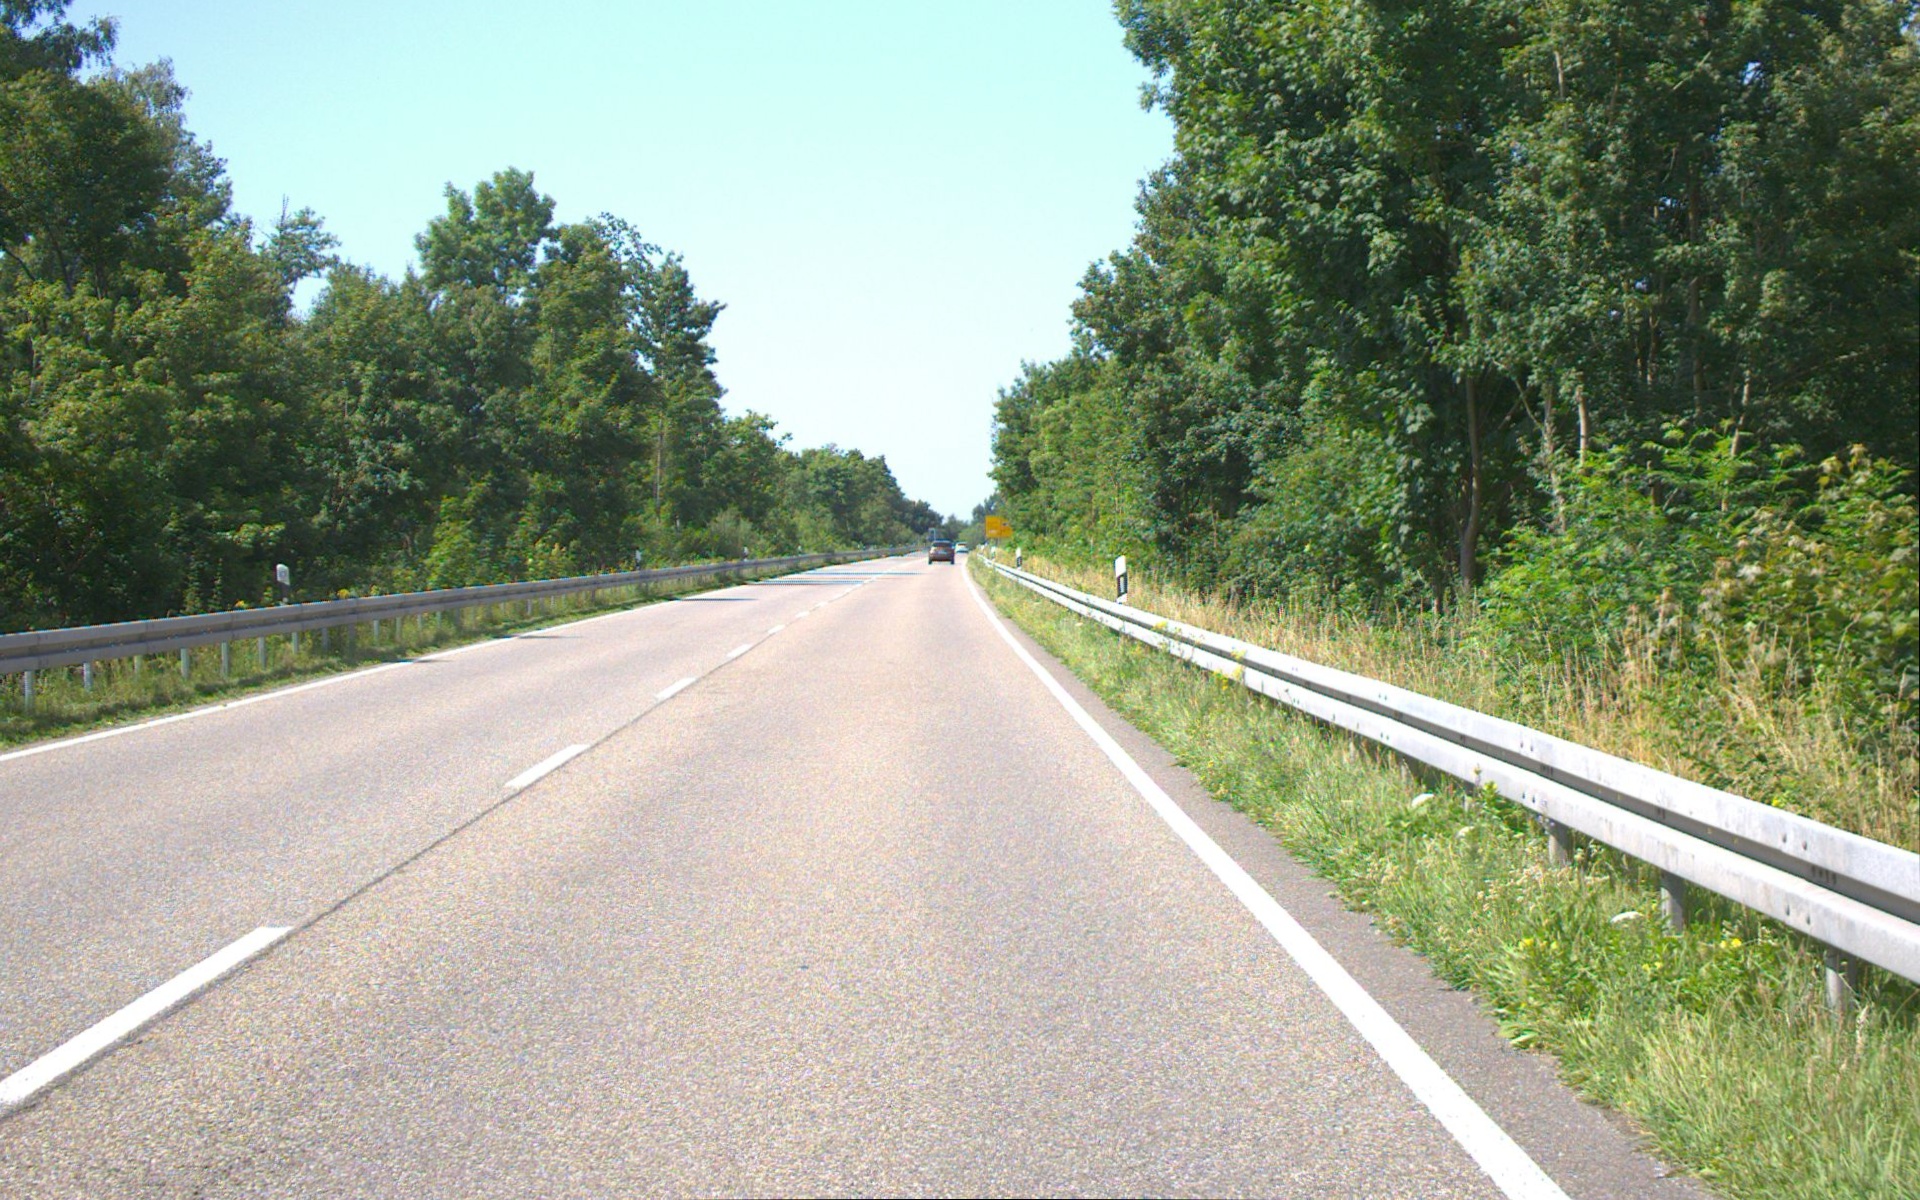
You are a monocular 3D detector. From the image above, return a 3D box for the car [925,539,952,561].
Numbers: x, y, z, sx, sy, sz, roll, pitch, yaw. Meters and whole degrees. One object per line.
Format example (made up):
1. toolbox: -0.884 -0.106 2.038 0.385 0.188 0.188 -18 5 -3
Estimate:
1. car: -1.446 -3.434 234.548 1.741 1.465 3.692 0 1 2
